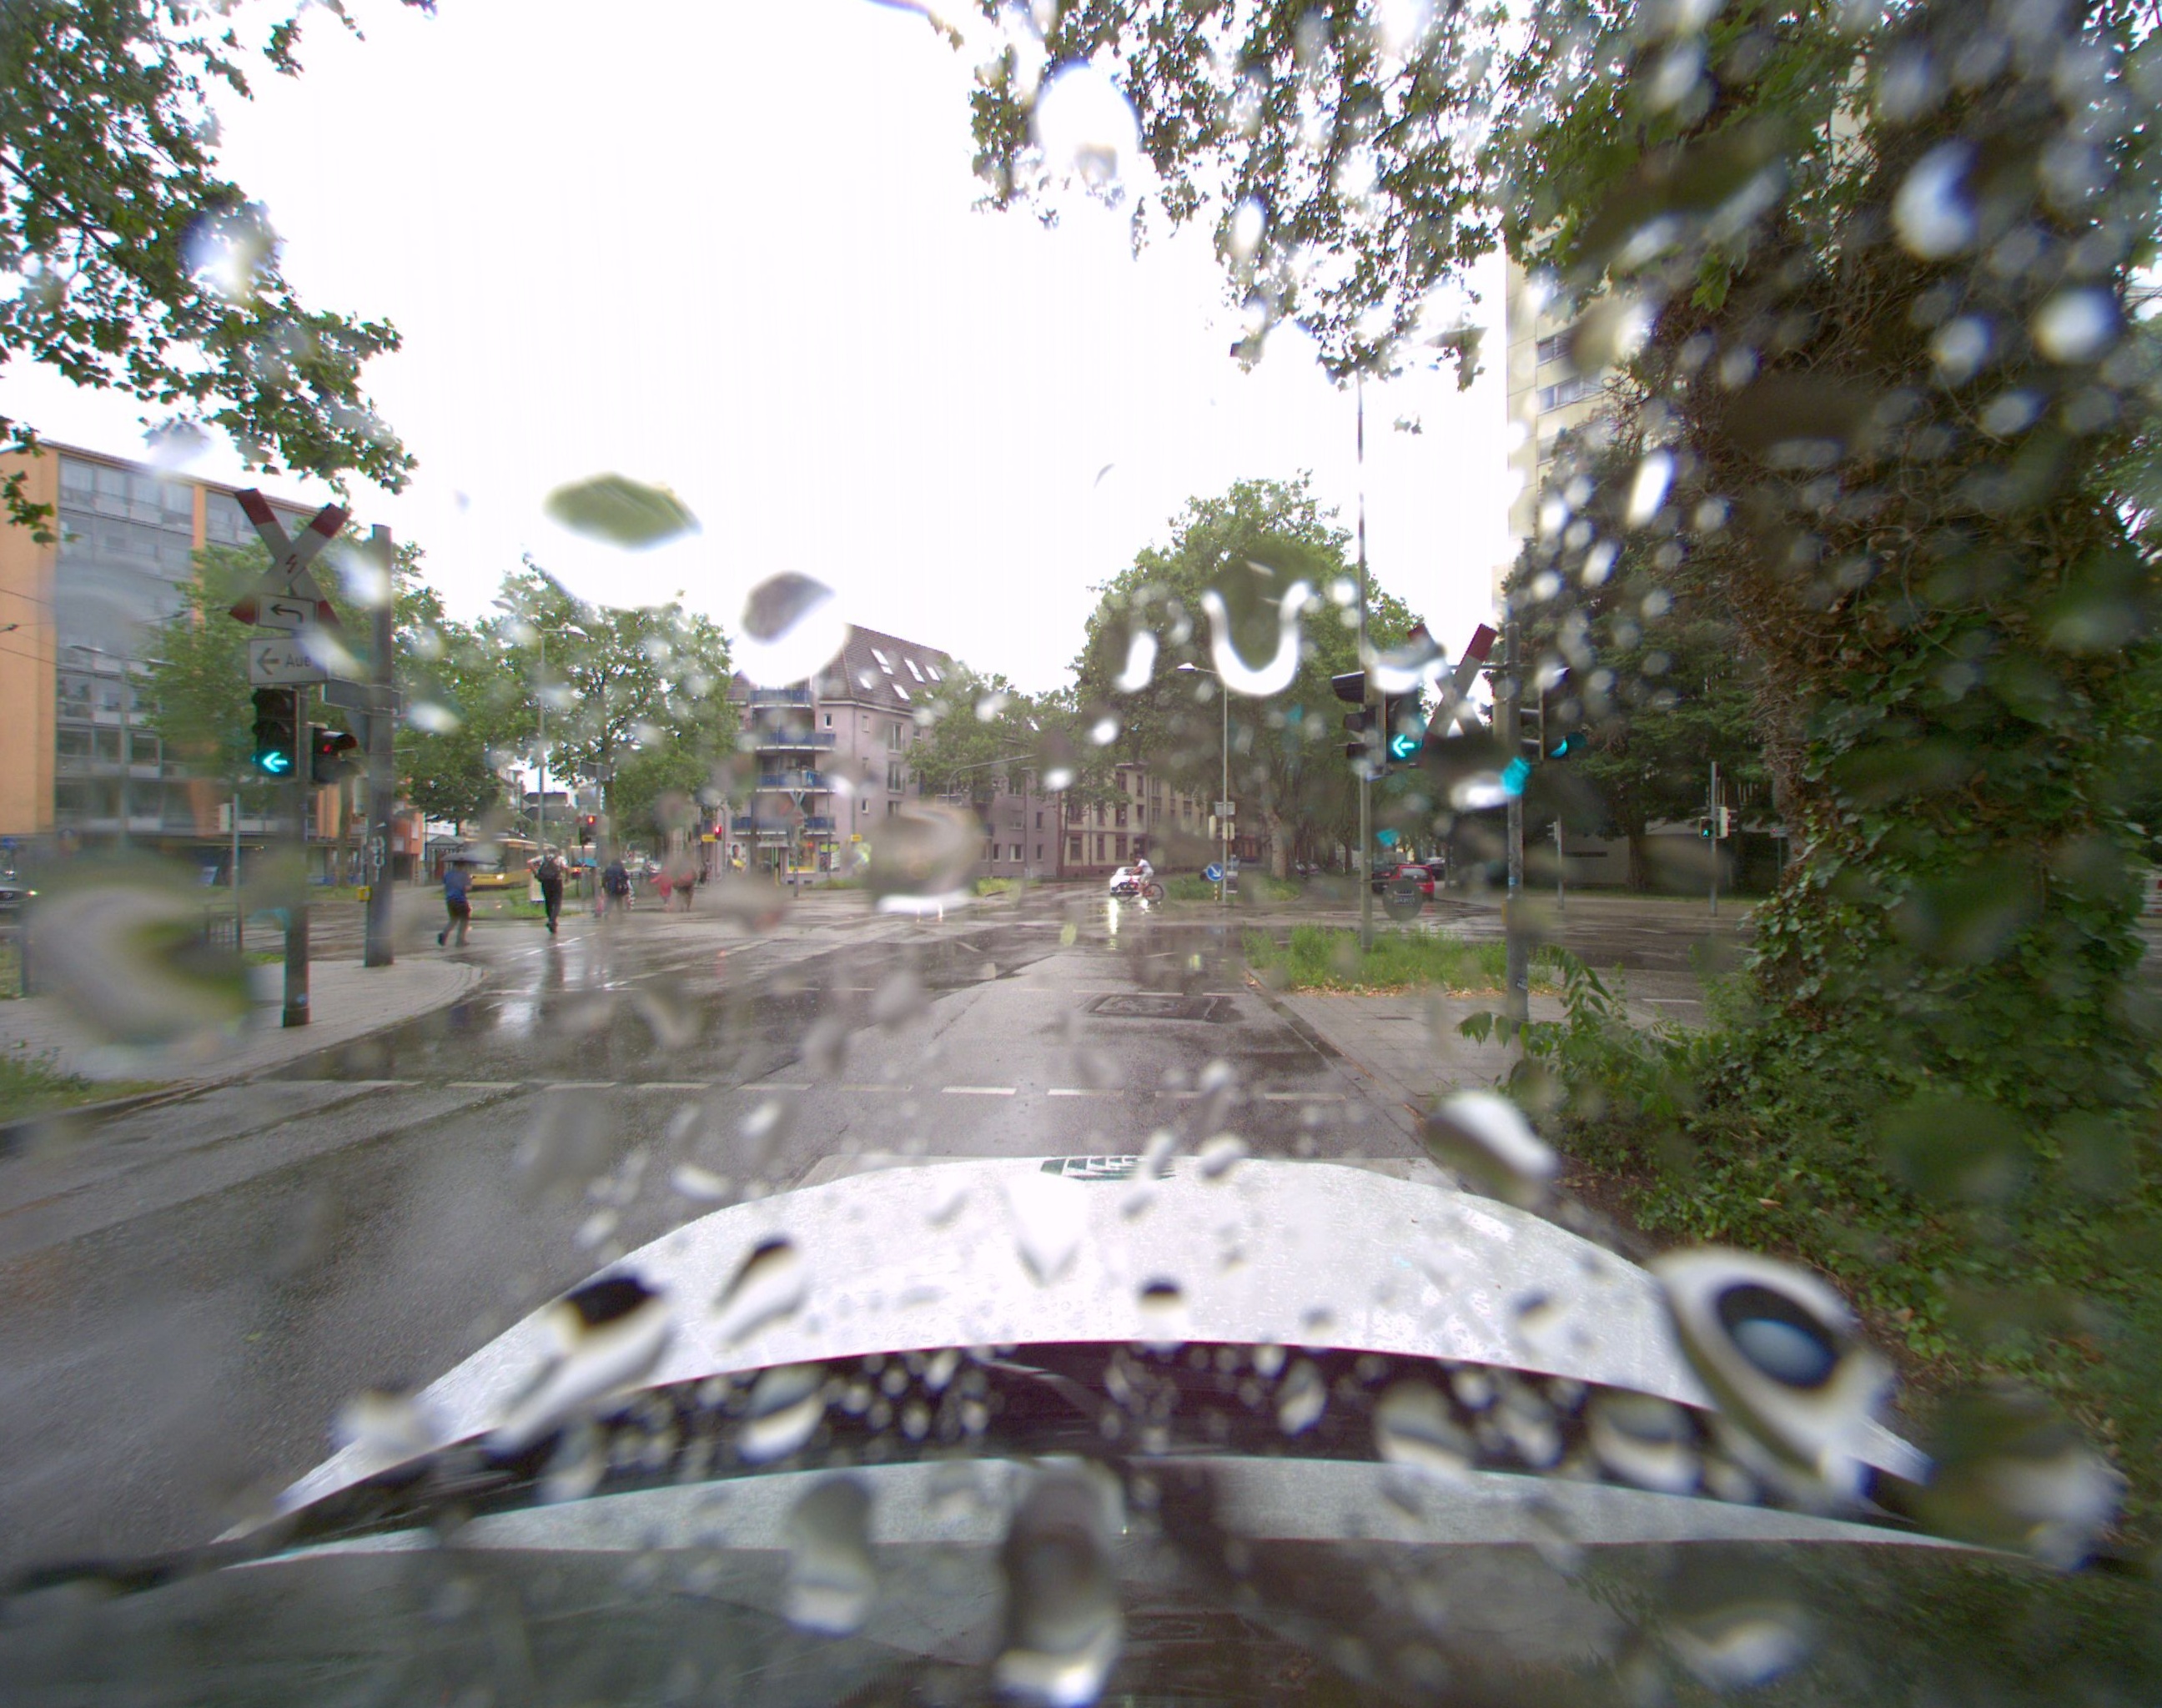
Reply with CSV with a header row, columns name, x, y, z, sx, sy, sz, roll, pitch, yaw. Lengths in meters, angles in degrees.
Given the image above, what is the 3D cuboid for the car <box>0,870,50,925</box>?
name,x,y,z,sx,sy,sz,roll,pitch,yaw
car,-32.261,1.240,23.402,3.994,1.530,1.615,0,0,12

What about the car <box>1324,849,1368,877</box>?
name,x,y,z,sx,sy,sz,roll,pitch,yaw
car,28.309,0.977,87.157,2.040,2.948,4.742,0,-1,-18

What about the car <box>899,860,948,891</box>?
name,x,y,z,sx,sy,sz,roll,pitch,yaw
car,-8.018,1.046,41.780,1.745,1.512,3.839,0,0,1

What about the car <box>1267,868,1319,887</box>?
name,x,y,z,sx,sy,sz,roll,pitch,yaw
car,16.944,1.865,65.062,3.958,1.486,2.008,-1,-1,14

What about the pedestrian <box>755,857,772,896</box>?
name,x,y,z,sx,sy,sz,roll,pitch,yaw
pedestrian,-15.225,1.078,39.058,0.791,1.855,0.676,0,-1,-22

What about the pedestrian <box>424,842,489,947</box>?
name,x,y,z,sx,sy,sz,roll,pitch,yaw
pedestrian,-11.517,0.717,15.016,0.876,1.864,0.881,0,-1,-43

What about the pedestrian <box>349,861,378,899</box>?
name,x,y,z,sx,sy,sz,roll,pitch,yaw
pedestrian,-33.695,1.195,38.248,0.965,1.766,0.941,0,-1,-39

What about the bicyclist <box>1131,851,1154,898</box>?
name,x,y,z,sx,sy,sz,roll,pitch,yaw
bicyclist,2.367,0.778,31.273,0.790,1.786,0.699,-1,-1,9

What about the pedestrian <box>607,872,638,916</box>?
name,x,y,z,sx,sy,sz,roll,pitch,yaw
pedestrian,-14.406,1.242,25.624,0.657,1.349,0.706,0,-1,-12

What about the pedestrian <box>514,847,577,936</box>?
name,x,y,z,sx,sy,sz,roll,pitch,yaw
pedestrian,-10.956,0.744,16.686,0.867,1.755,0.825,0,0,-18

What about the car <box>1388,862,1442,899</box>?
name,x,y,z,sx,sy,sz,roll,pitch,yaw
car,14.815,1.141,36.274,1.778,1.498,4.017,0,0,16

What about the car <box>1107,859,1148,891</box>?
name,x,y,z,sx,sy,sz,roll,pitch,yaw
car,2.261,0.978,39.172,1.876,1.436,4.004,0,0,4

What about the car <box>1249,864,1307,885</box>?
name,x,y,z,sx,sy,sz,roll,pitch,yaw
car,13.923,1.443,57.560,3.958,1.486,2.008,-1,-1,14

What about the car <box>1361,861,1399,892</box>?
name,x,y,z,sx,sy,sz,roll,pitch,yaw
car,17.314,1.274,47.365,1.769,1.727,4.017,-1,-1,16

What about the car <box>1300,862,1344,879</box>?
name,x,y,z,sx,sy,sz,roll,pitch,yaw
car,23.124,1.604,78.198,3.958,1.547,2.008,-1,-1,14

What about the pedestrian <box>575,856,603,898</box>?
name,x,y,z,sx,sy,sz,roll,pitch,yaw
pedestrian,-20.869,0.975,34.554,0.962,1.766,0.944,0,-1,-28

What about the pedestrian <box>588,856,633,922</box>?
name,x,y,z,sx,sy,sz,roll,pitch,yaw
pedestrian,-12.688,0.921,21.971,0.844,1.698,0.680,-4,2,-42

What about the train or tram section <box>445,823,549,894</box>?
name,x,y,z,sx,sy,sz,roll,pitch,yaw
train or tram section,-36.268,0.354,51.296,2.897,3.768,17.088,0,-1,-28

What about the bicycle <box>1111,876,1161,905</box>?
name,x,y,z,sx,sy,sz,roll,pitch,yaw
bicycle,2.125,1.388,31.318,1.862,1.081,0.658,-1,-1,9

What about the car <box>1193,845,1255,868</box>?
name,x,y,z,sx,sy,sz,roll,pitch,yaw
car,9.439,0.187,53.669,3.838,1.486,1.723,-1,-1,14

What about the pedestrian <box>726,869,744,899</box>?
name,x,y,z,sx,sy,sz,roll,pitch,yaw
pedestrian,-16.360,1.408,38.457,0.653,1.396,0.774,0,-1,-33

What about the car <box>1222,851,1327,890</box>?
name,x,y,z,sx,sy,sz,roll,pitch,yaw
car,7.735,0.663,32.580,3.958,1.486,2.008,-1,-1,14

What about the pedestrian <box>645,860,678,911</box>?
name,x,y,z,sx,sy,sz,roll,pitch,yaw
pedestrian,-12.814,0.964,24.894,0.681,1.520,0.658,-1,-1,-7

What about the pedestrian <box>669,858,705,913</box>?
name,x,y,z,sx,sy,sz,roll,pitch,yaw
pedestrian,-12.098,0.955,25.039,0.728,1.624,0.816,-1,1,-5

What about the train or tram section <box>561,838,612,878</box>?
name,x,y,z,sx,sy,sz,roll,pitch,yaw
train or tram section,-47.707,0.424,78.882,2.875,3.545,15.240,0,-1,-26

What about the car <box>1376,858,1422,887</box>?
name,x,y,z,sx,sy,sz,roll,pitch,yaw
car,15.883,0.877,40.811,1.770,1.348,3.945,0,0,16

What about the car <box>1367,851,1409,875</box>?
name,x,y,z,sx,sy,sz,roll,pitch,yaw
car,38.974,1.102,103.508,2.006,2.948,4.726,0,-1,-29
